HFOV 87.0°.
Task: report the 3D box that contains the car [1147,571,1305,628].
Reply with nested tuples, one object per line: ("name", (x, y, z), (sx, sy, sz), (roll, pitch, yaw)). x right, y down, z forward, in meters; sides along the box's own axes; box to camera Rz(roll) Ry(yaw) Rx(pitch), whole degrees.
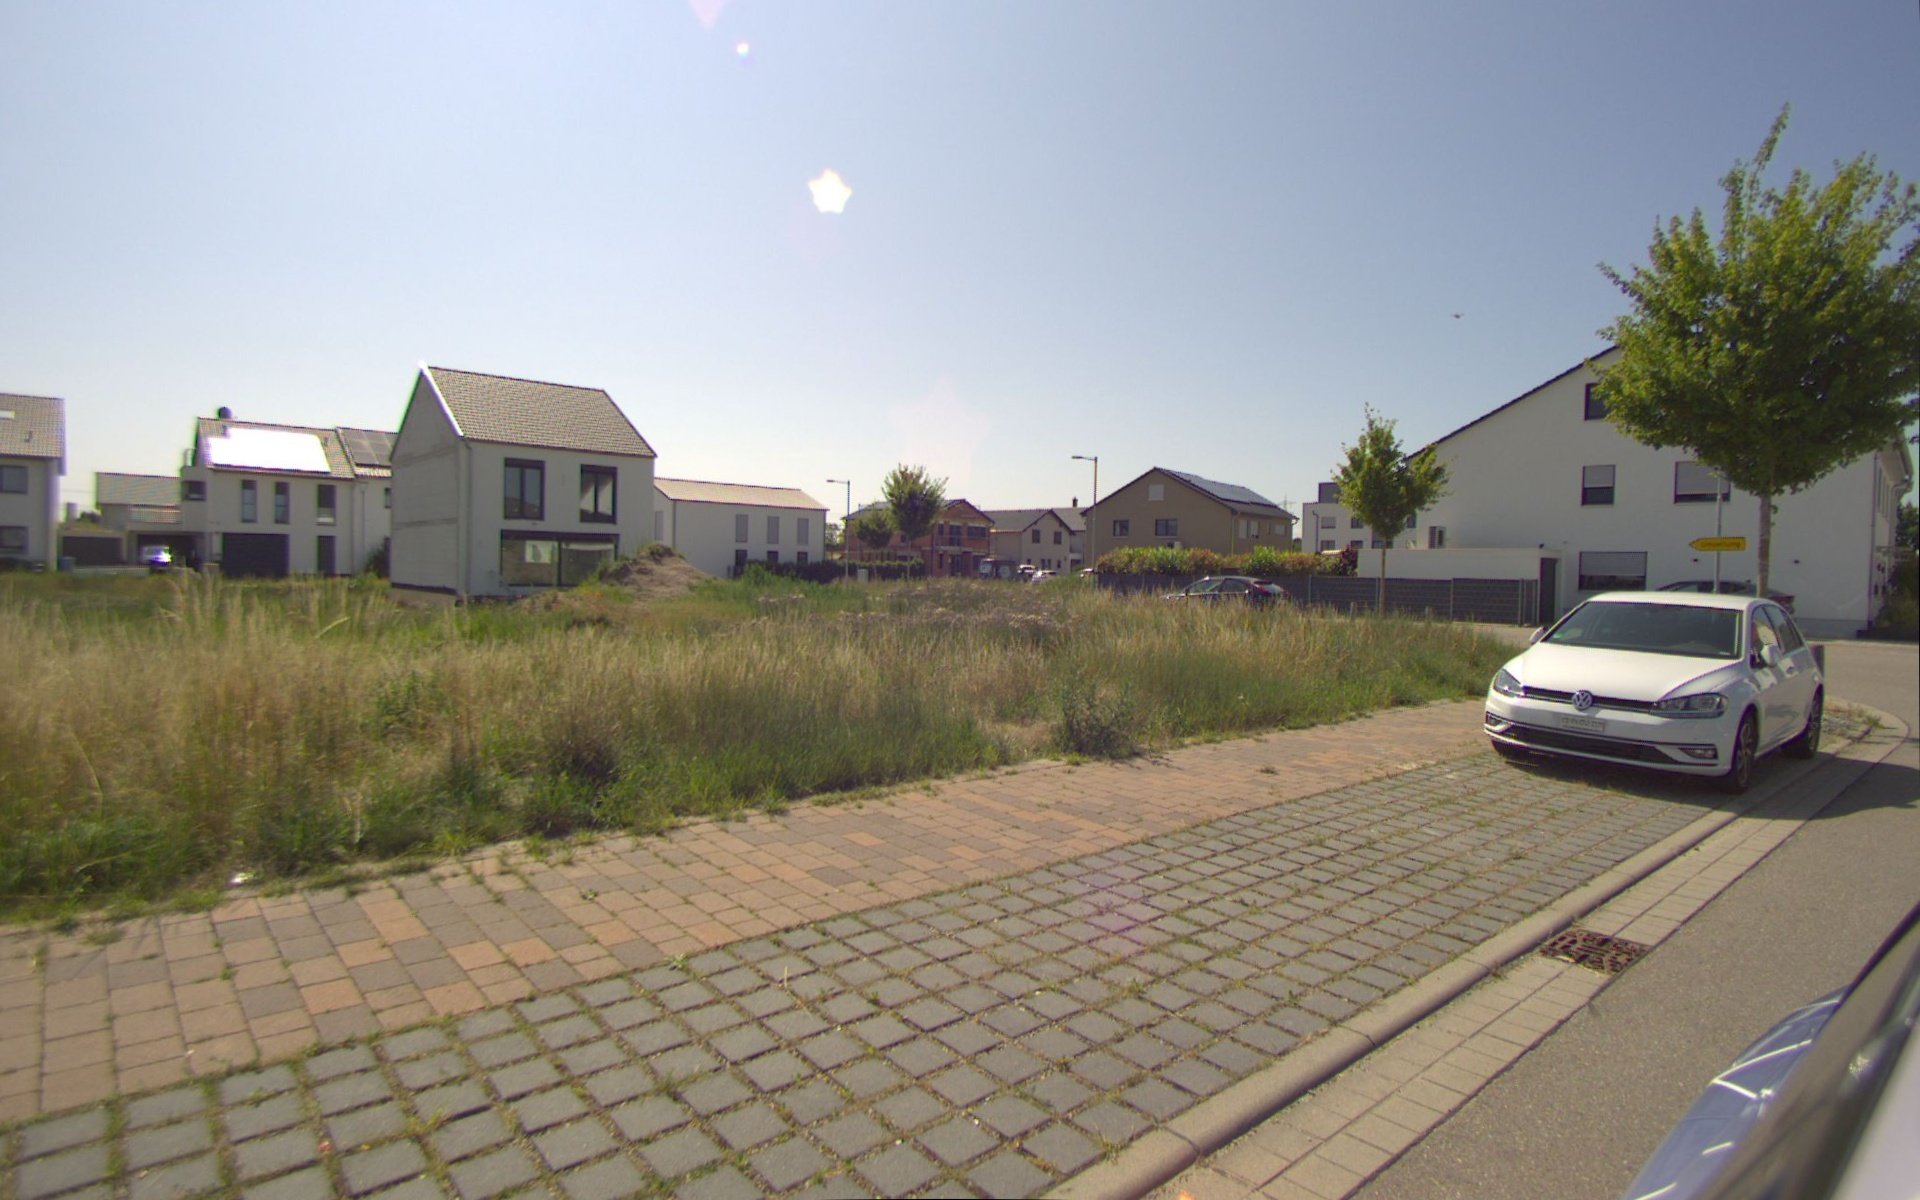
("car", (7.778, -0.076, 29.804), (4.179, 1.512, 1.822), (2, 3, 43))

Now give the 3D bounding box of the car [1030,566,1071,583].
("car", (7.872, -2.199, 87.817), (1.660, 1.417, 3.864), (3, 3, 39))

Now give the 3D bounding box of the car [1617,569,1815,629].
("car", (21.956, -0.079, 29.529), (1.927, 1.577, 4.342), (0, 2, -43))

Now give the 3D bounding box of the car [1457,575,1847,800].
("car", (6.162, 0.572, 8.828), (4.093, 1.437, 1.779), (0, 4, -41))

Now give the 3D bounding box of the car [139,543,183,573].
("car", (-43.340, -2.275, 54.926), (1.782, 1.531, 3.999), (0, 2, -37))

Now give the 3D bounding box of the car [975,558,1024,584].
("car", (3.233, -2.356, 82.468), (1.991, 2.038, 3.943), (3, 3, 40))
